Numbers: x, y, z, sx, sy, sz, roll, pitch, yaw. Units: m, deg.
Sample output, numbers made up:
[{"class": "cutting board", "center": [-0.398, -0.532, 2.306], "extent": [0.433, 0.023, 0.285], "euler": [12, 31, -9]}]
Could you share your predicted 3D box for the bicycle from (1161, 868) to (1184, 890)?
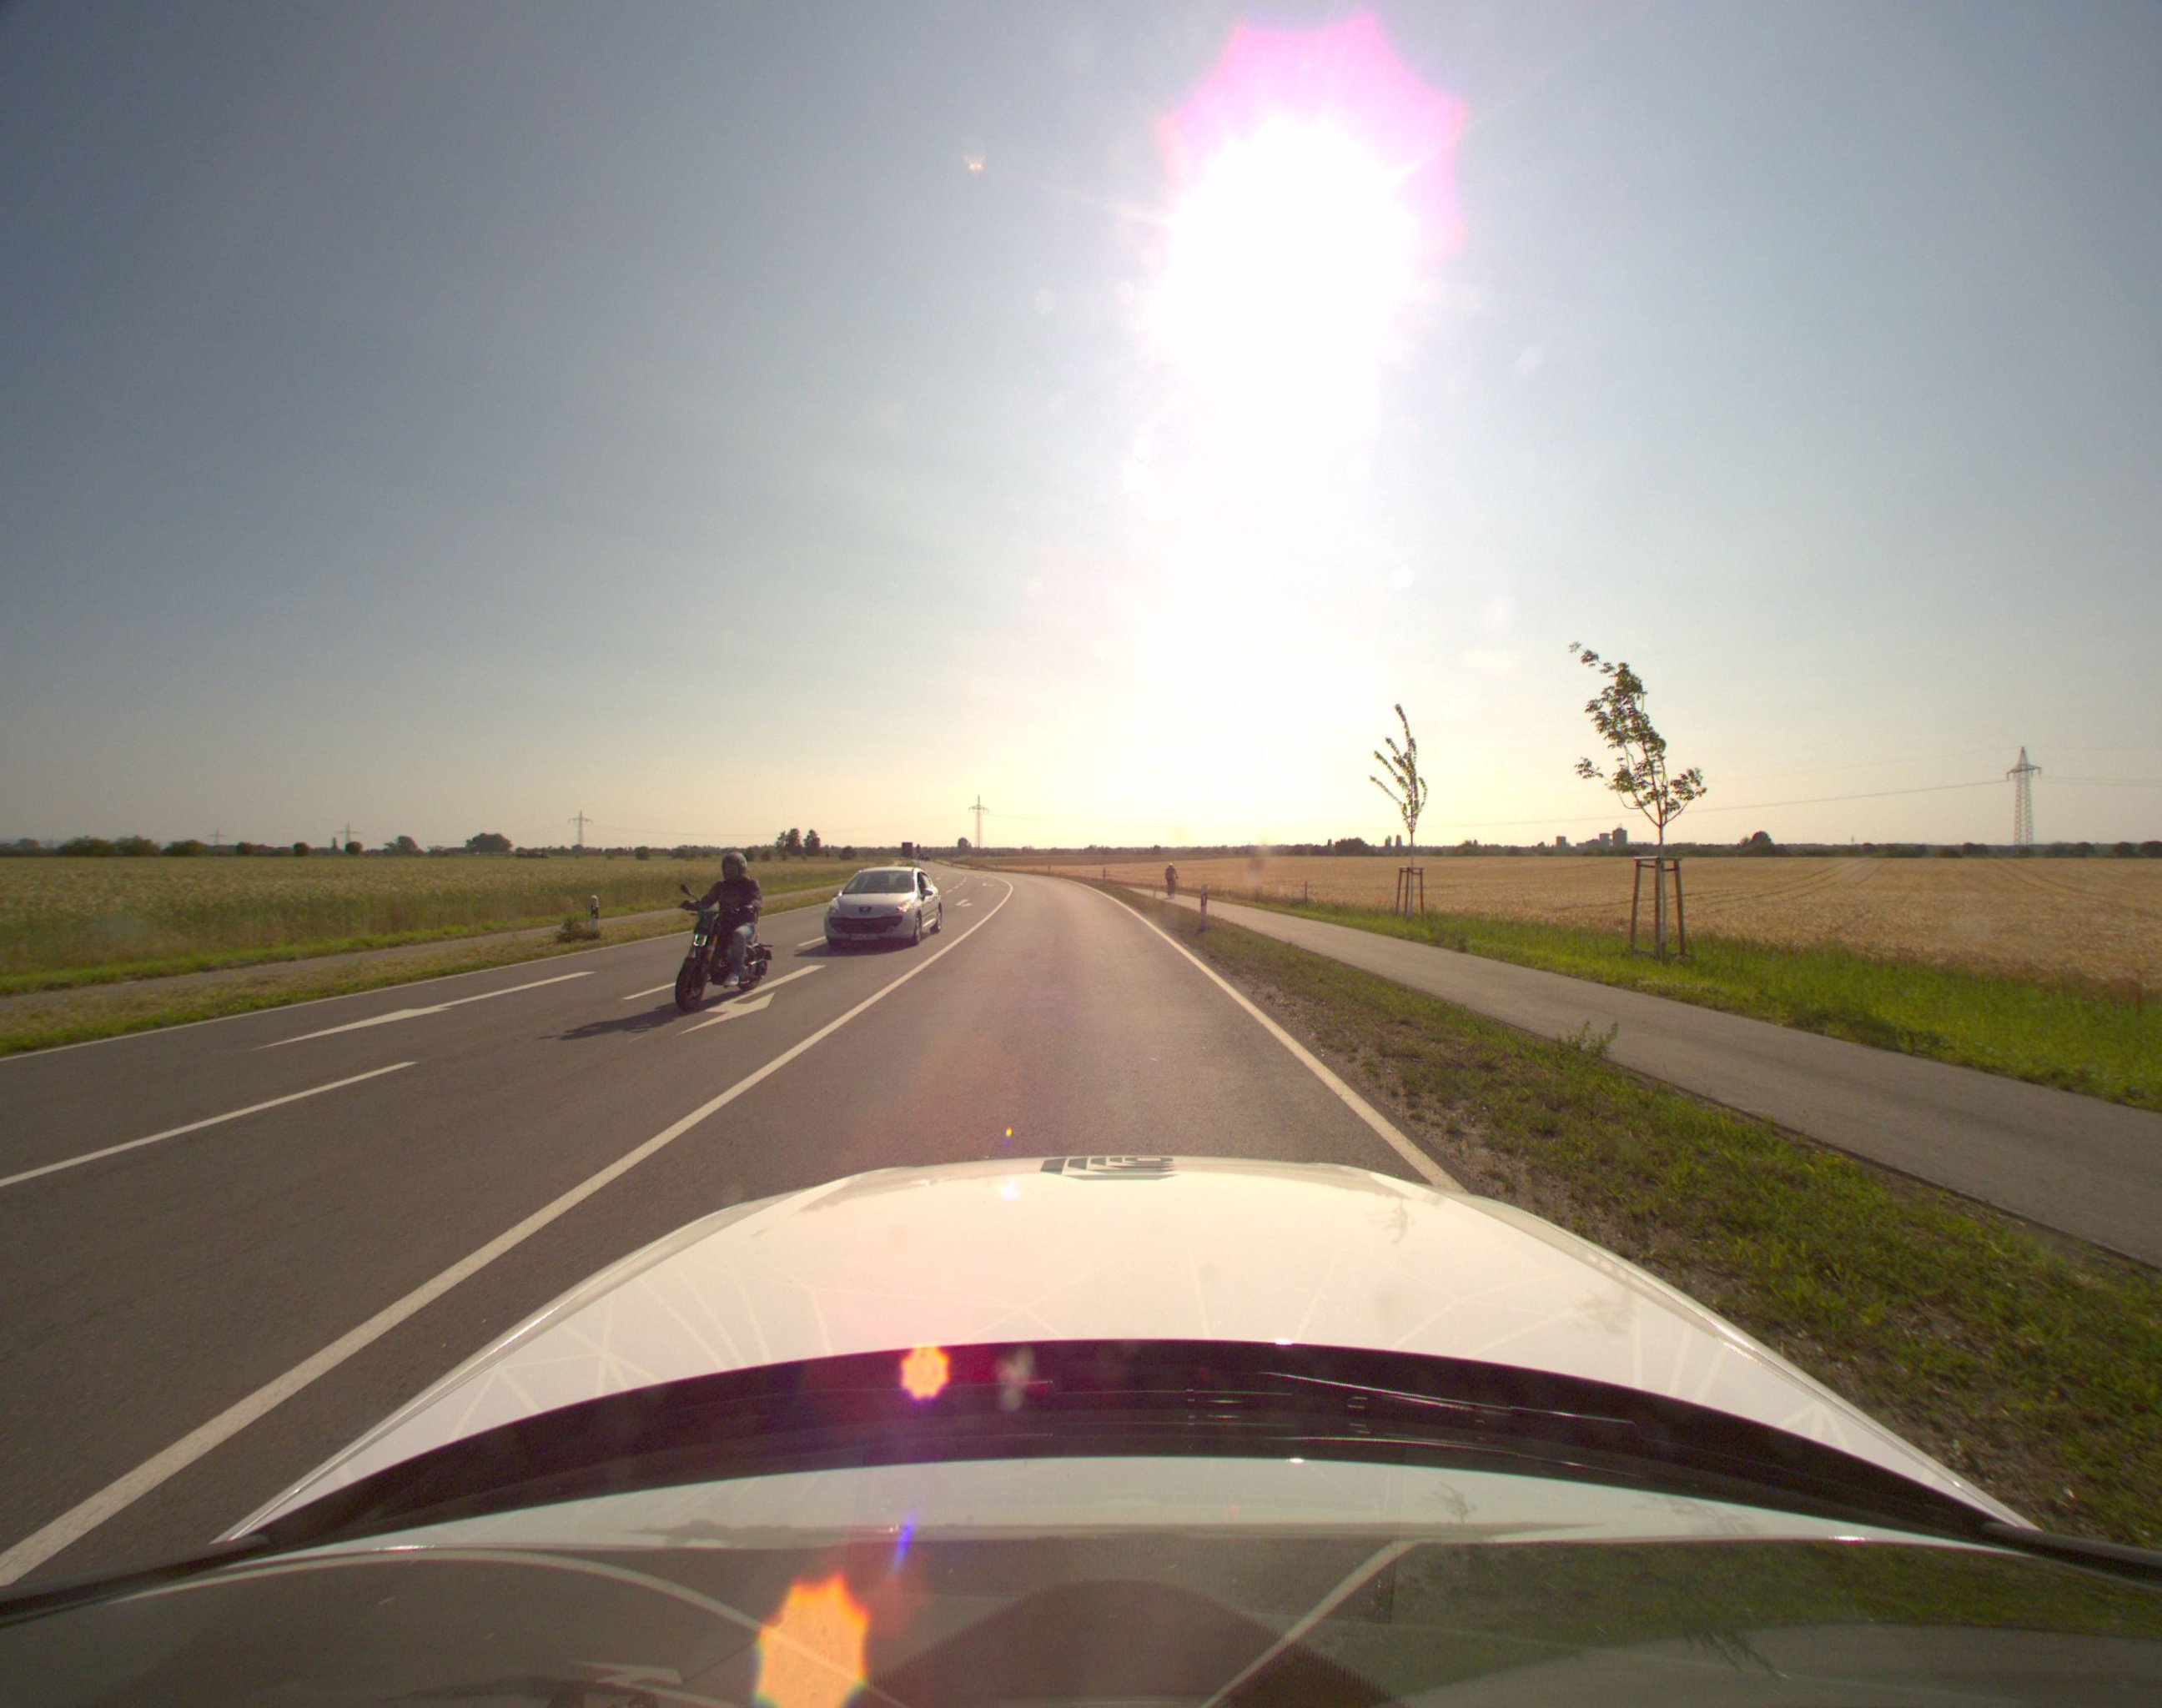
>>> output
[{"class": "bicycle", "center": [4.911, 1.346, 43.775], "extent": [0.843, 1.142, 2.204], "euler": [1, -1, -3]}]

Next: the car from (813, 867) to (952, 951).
[{"class": "car", "center": [-3.840, 1.006, 16.470], "extent": [1.680, 1.403, 4.001], "euler": [-2, -1, 2]}]

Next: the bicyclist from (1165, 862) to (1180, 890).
[{"class": "bicyclist", "center": [4.917, 1.176, 43.898], "extent": [0.636, 1.457, 0.816], "euler": [2, -1, -3]}]

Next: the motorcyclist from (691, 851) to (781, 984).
[{"class": "motorcyclist", "center": [-4.074, 0.720, 9.665], "extent": [0.675, 1.495, 0.847], "euler": [-1, -1, 1]}]

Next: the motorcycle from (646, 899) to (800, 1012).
[{"class": "motorcycle", "center": [-4.111, 1.122, 9.559], "extent": [0.867, 1.073, 1.969], "euler": [-1, 0, 2]}]
